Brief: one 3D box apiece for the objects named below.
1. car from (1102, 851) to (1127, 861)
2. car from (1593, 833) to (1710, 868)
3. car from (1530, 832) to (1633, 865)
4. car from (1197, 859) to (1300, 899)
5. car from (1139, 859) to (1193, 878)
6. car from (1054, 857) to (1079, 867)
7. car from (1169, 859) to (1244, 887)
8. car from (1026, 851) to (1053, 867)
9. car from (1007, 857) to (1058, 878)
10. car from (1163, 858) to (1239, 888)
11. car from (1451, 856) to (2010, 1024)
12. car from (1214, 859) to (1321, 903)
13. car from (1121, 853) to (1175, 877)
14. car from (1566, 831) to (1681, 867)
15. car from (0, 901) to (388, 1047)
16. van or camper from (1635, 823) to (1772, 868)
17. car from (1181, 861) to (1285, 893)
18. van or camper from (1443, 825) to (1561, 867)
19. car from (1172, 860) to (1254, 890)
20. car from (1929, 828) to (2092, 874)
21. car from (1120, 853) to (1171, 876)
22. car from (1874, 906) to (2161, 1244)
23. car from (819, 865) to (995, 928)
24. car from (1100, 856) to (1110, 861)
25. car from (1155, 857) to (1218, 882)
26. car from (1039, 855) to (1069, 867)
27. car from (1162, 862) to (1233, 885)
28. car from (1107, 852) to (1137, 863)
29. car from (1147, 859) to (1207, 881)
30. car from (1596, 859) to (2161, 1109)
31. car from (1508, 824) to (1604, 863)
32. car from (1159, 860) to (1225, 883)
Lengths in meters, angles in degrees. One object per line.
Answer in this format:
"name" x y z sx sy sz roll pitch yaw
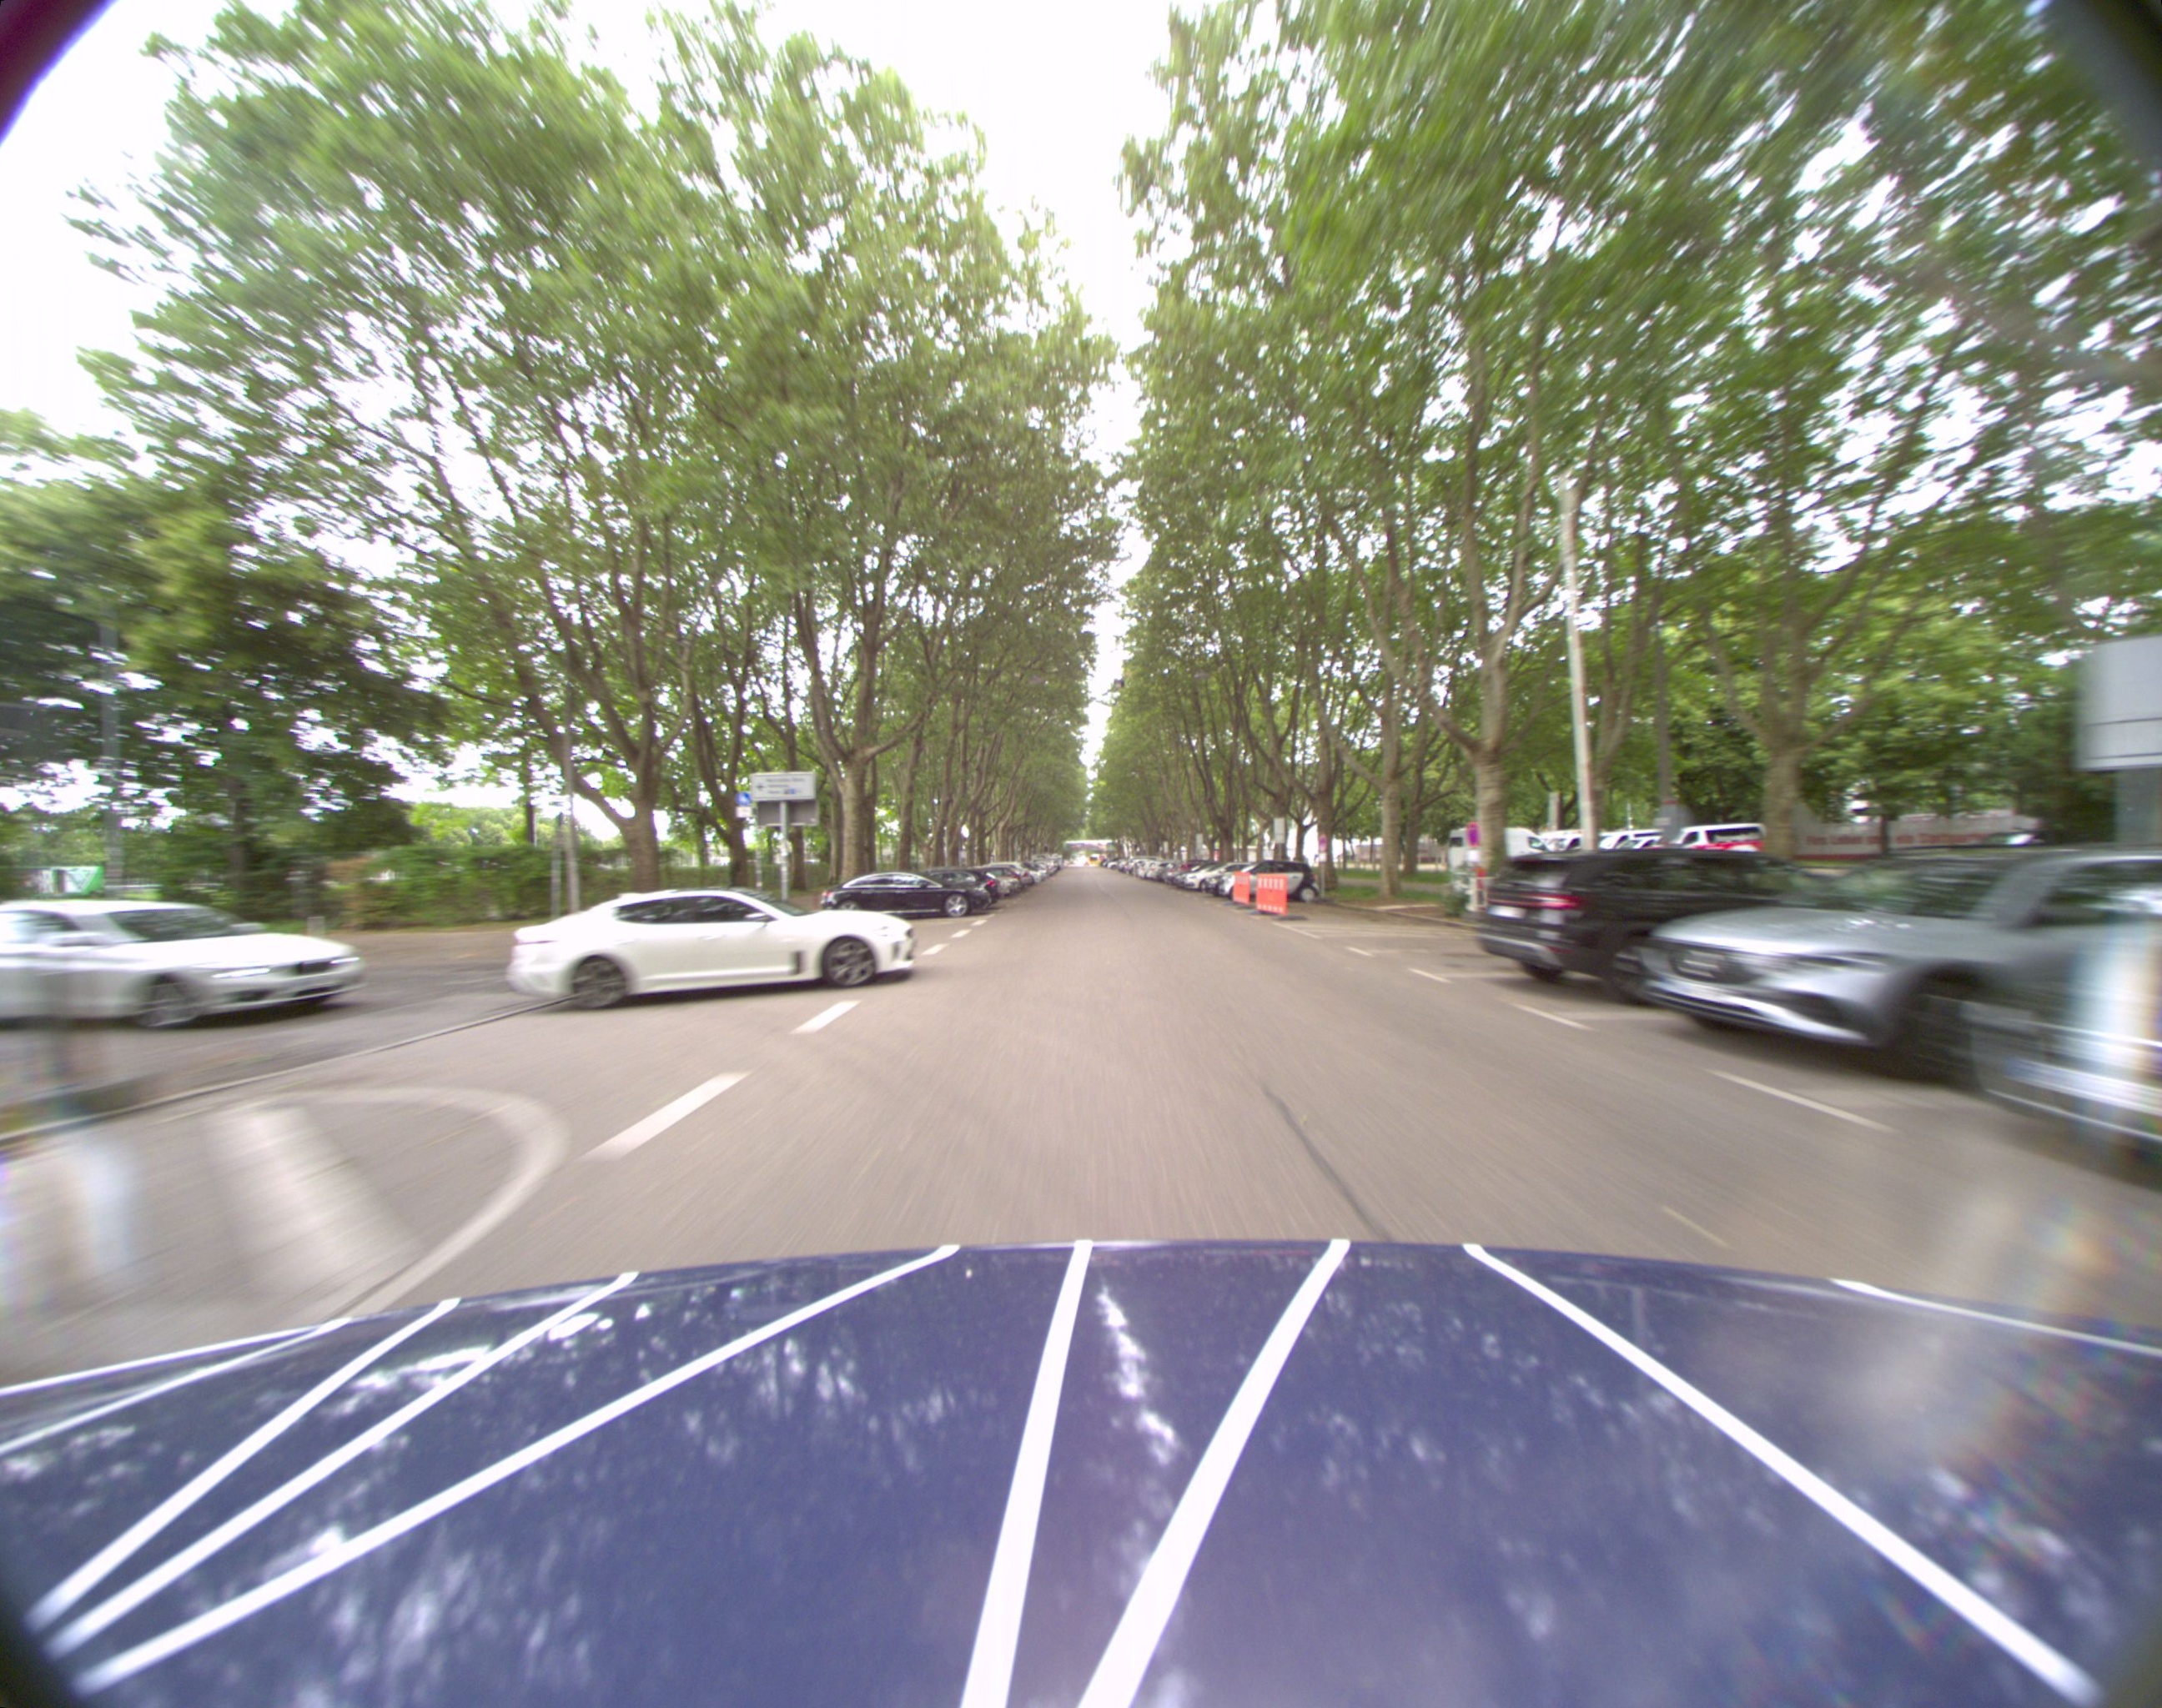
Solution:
"car" 7.043 0.444 159.266 4.919 1.816 2.000 -2 -2 -3
"car" 33.635 -0.222 44.884 5.467 1.839 1.999 -2 1 -2
"car" 34.238 -0.374 52.103 5.467 2.009 2.393 -2 1 -2
"car" 6.732 0.987 30.861 3.847 1.529 1.676 0 0 2
"car" 6.490 1.138 58.614 3.996 1.422 2.001 0 -1 2
"car" -3.023 1.604 155.611 4.919 1.816 2.000 -2 -2 -3
"car" 7.150 1.057 43.544 3.996 1.505 1.874 0 0 2
"car" -6.546 0.786 120.797 3.997 2.273 2.000 -2 1 0
"car" -4.721 1.333 75.052 4.674 1.740 2.001 -4 0 5
"car" 6.412 1.012 40.868 3.847 1.560 1.847 0 0 2
"car" 6.857 0.837 8.548 4.417 1.616 2.048 0 0 5
"car" 6.894 0.974 28.399 3.565 1.569 1.847 0 0 2
"car" 5.805 0.972 66.064 4.492 1.740 2.001 -4 0 5
"car" 33.764 -0.321 47.396 5.467 1.986 2.475 -2 1 -2
"car" -11.417 1.385 9.214 4.288 1.453 1.784 -1 0 -2
"van or camper" 34.530 -0.462 42.268 5.719 2.242 2.329 -2 1 0
"car" 7.156 1.063 36.132 4.575 1.425 2.090 0 0 2
"van or camper" 23.412 -0.466 42.387 5.299 2.087 2.244 -2 1 -2
"car" 6.601 1.051 38.367 3.847 1.466 1.847 0 0 2
"car" 34.098 -0.112 27.942 3.998 1.478 1.800 -2 1 -4
"car" 5.968 0.957 70.029 4.492 1.740 2.001 -4 0 5
"car" 6.875 0.997 3.518 4.420 1.387 2.047 0 0 -3
"car" -5.156 1.241 23.056 4.832 1.497 2.000 -4 0 -2
"car" 5.727 1.087 179.131 2.307 0.918 1.132 -2 -2 -2
"car" 7.024 1.046 51.043 4.028 1.619 2.001 0 -1 2
"car" -4.429 1.153 125.655 4.919 1.816 2.000 -2 -2 -3
"car" 6.970 1.158 45.753 3.996 1.302 2.001 0 -1 2
"car" 7.242 0.628 134.418 4.919 1.816 2.000 -2 -2 -3
"car" 6.681 1.104 53.272 4.039 1.518 1.800 0 -1 2
"car" 6.977 0.853 6.060 4.420 1.616 2.047 0 0 -3
"car" 34.193 -0.745 54.791 5.467 2.502 2.393 -2 1 -2
"car" 7.061 1.117 48.562 3.996 1.462 2.001 0 -1 2
